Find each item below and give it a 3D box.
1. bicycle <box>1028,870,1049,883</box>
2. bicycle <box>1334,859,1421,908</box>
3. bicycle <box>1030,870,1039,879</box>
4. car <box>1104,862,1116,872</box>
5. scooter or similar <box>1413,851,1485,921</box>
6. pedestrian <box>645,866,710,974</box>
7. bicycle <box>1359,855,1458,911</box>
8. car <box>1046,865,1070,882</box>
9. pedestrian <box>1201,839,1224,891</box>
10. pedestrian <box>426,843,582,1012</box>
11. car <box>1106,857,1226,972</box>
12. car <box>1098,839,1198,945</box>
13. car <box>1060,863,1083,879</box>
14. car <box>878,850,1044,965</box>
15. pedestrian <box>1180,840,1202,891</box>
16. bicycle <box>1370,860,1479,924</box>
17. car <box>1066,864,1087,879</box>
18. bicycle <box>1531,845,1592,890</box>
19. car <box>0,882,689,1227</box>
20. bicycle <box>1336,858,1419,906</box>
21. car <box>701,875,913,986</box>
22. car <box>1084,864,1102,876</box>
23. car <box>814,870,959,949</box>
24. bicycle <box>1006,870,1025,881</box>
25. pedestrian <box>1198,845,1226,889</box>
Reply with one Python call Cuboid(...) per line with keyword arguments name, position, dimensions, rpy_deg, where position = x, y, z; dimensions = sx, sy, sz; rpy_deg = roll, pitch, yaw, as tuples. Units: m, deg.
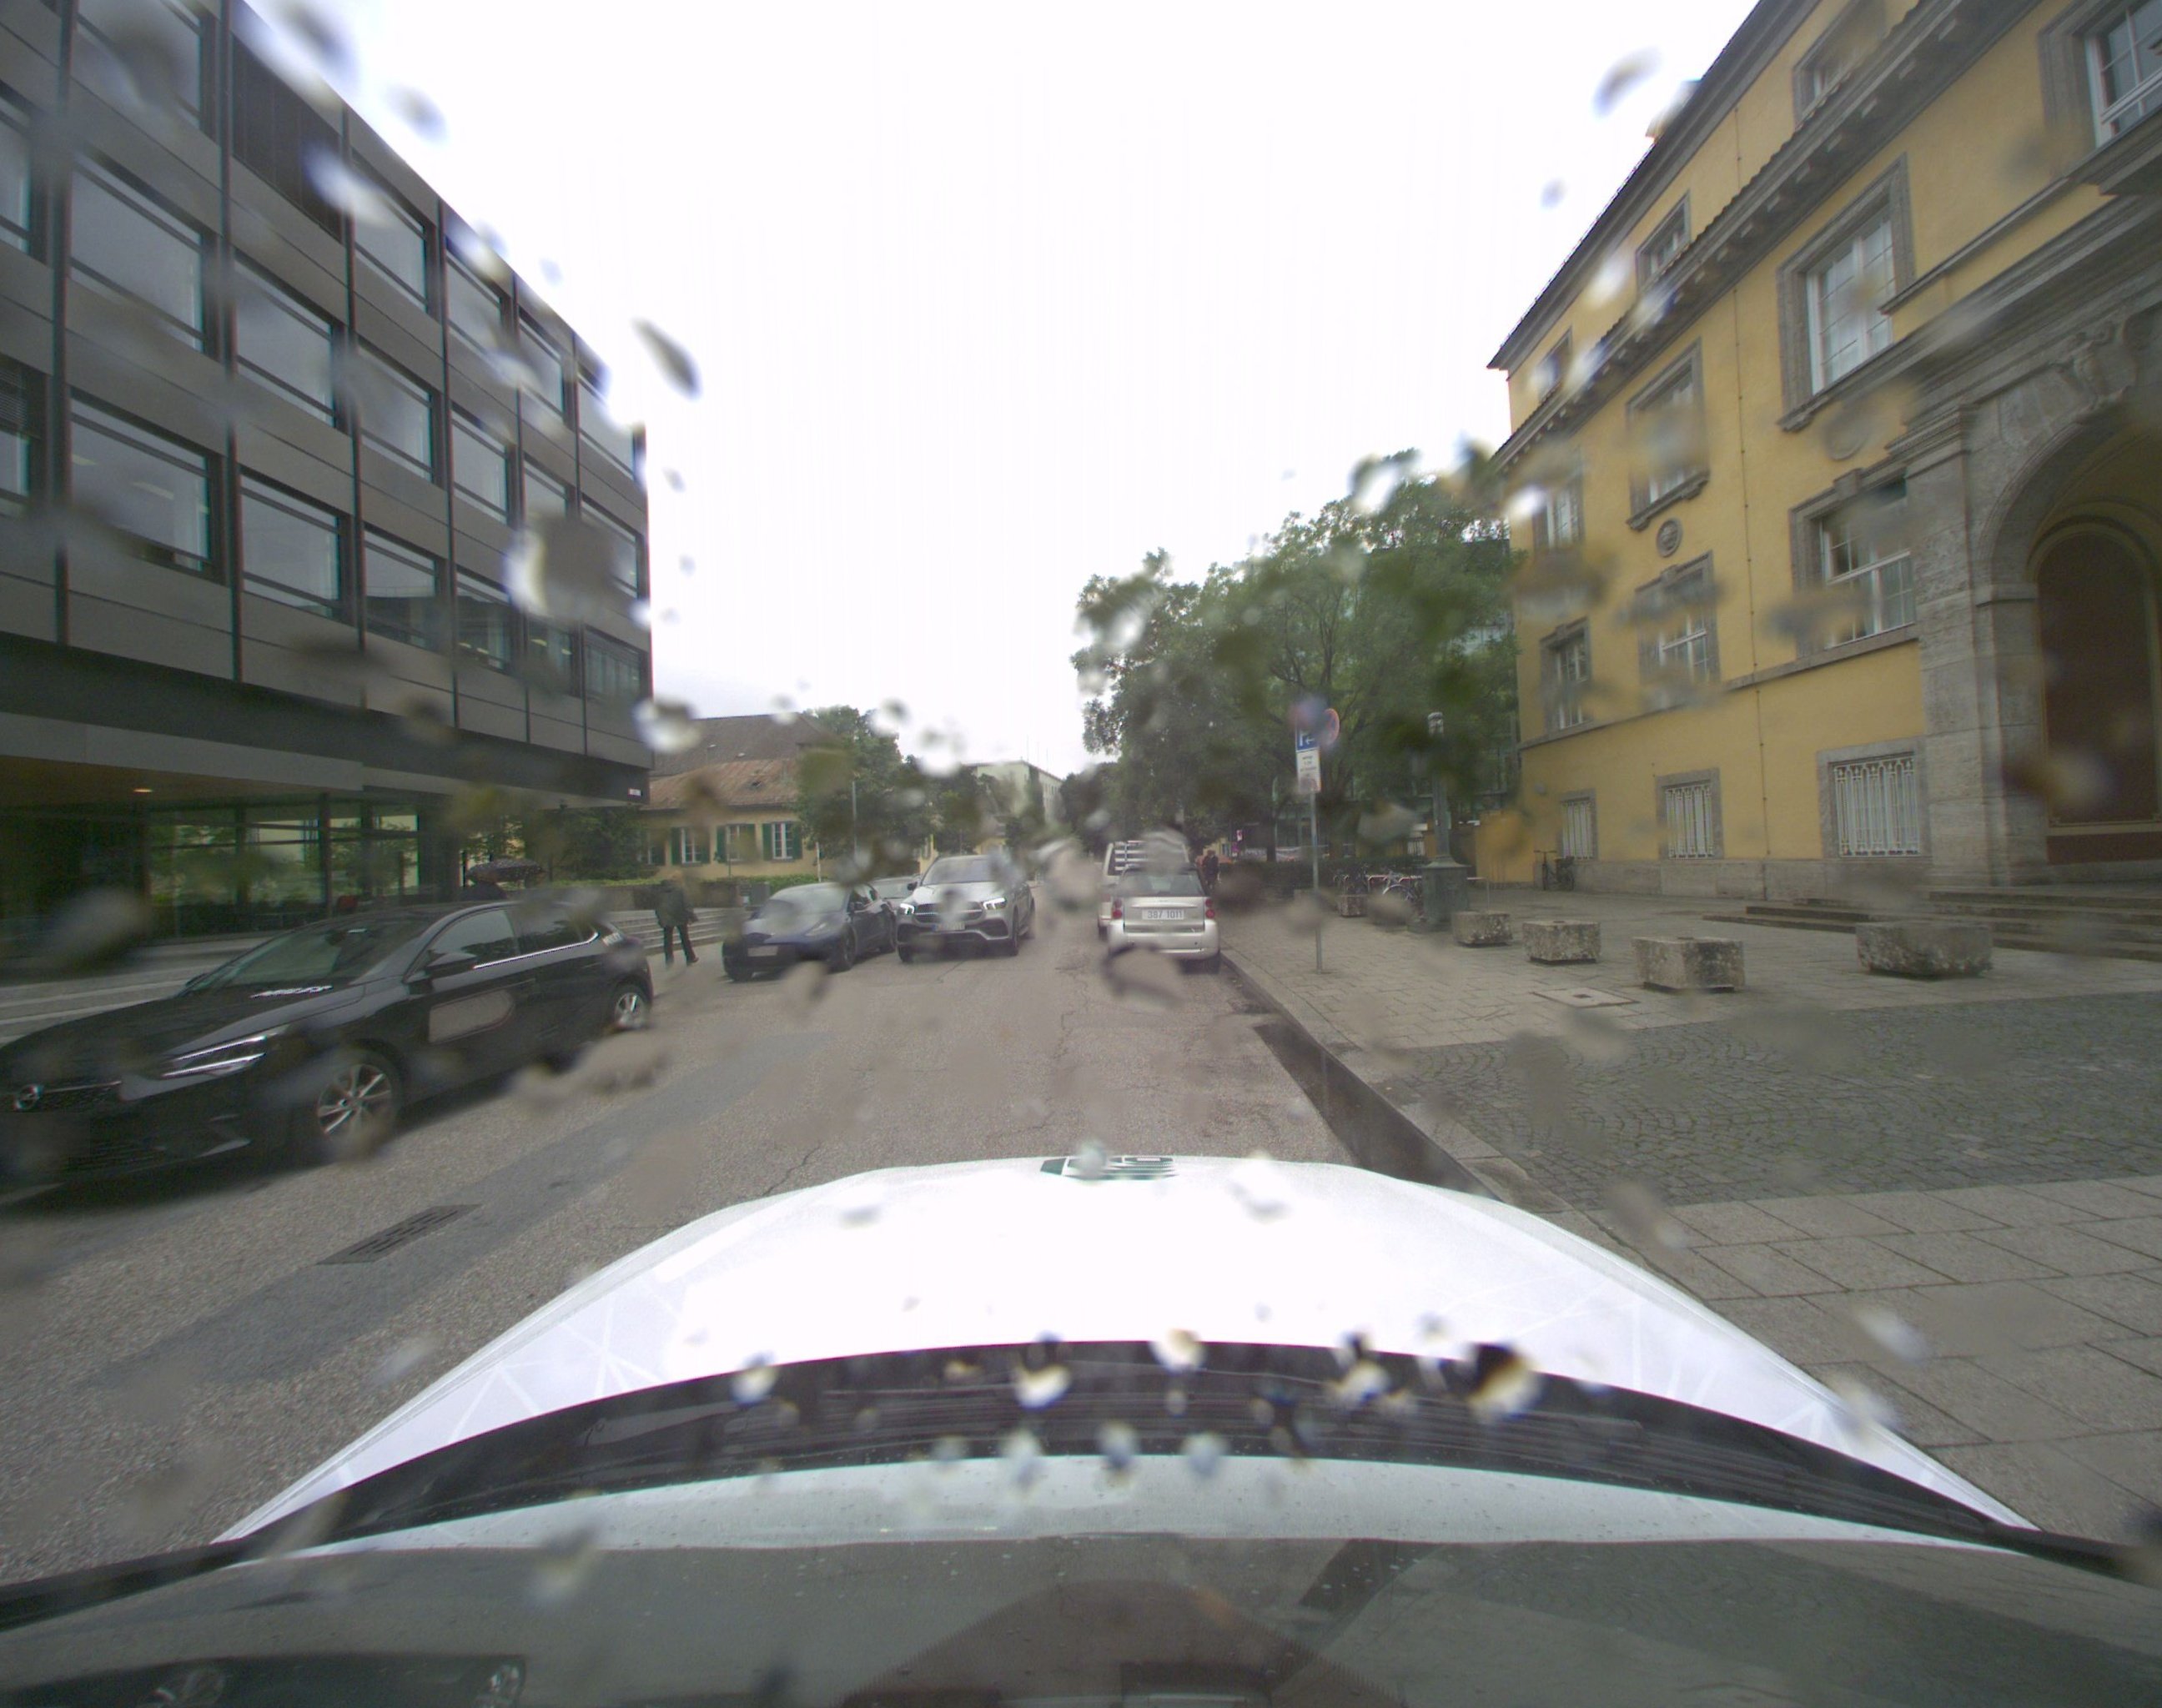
Cuboid(name="bicycle", position=(-3.694, 1.960, 71.017), dimensions=(0.615, 1.004, 2.154), rpy_deg=(0, 0, 35))
Cuboid(name="bicycle", position=(7.431, 0.735, 20.456), dimensions=(1.923, 1.113, 0.472), rpy_deg=(-4, -1, 4))
Cuboid(name="bicycle", position=(-4.939, 2.202, 87.304), dimensions=(0.618, 1.004, 1.622), rpy_deg=(-2, -2, 8))
Cuboid(name="car", position=(5.052, 2.275, 142.199), dimensions=(1.802, 1.683, 4.005), rpy_deg=(-3, -1, 4))
Cuboid(name="scooter or similar", position=(6.733, 0.586, 14.918), dimensions=(0.541, 1.222, 1.000), rpy_deg=(-3, -1, -43))
Cuboid(name="pedestrian", position=(-6.911, 1.094, 13.989), dimensions=(0.754, 1.749, 0.948), rpy_deg=(-2, -1, -14))
Cuboid(name="bicycle", position=(7.277, 0.637, 18.148), dimensions=(1.923, 1.113, 0.472), rpy_deg=(-4, -1, 4))
Cuboid(name="car", position=(-2.109, 1.794, 75.488), dimensions=(1.725, 1.581, 3.793), rpy_deg=(0, -1, 5))
Cuboid(name="pedestrian", position=(5.654, 0.477, 35.030), dimensions=(0.740, 2.135, 1.056), rpy_deg=(-3, -1, 1))
Cuboid(name="pedestrian", position=(-7.489, 0.911, 10.649), dimensions=(1.131, 2.055, 1.221), rpy_deg=(-1, -1, 1))
Cuboid(name="car", position=(1.213, 0.836, 12.499), dimensions=(1.599, 1.546, 2.935), rpy_deg=(0, -1, 2))
Cuboid(name="car", position=(1.284, 0.726, 17.604), dimensions=(1.838, 1.933, 5.273), rpy_deg=(0, -1, 1))
Cuboid(name="car", position=(-0.954, 1.792, 88.056), dimensions=(1.984, 1.648, 4.661), rpy_deg=(-2, -1, 5))
Cuboid(name="car", position=(-1.989, 0.858, 15.083), dimensions=(2.016, 1.689, 4.681), rpy_deg=(-3, -1, 3))
Cuboid(name="pedestrian", position=(4.763, 0.503, 35.414), dimensions=(0.740, 2.135, 1.056), rpy_deg=(-3, -1, 1))
Cuboid(name="bicycle", position=(6.825, 0.745, 16.206), dimensions=(1.926, 1.113, 0.471), rpy_deg=(-4, -1, -1))
Cuboid(name="car", position=(-0.480, 1.970, 92.969), dimensions=(1.985, 1.603, 4.003), rpy_deg=(-2, -2, 4))
Cuboid(name="bicycle", position=(13.144, 0.366, 22.341), dimensions=(0.540, 1.154, 1.902), rpy_deg=(-3, 0, 1))
Cuboid(name="car", position=(-4.942, 1.061, 6.015), dimensions=(1.732, 1.461, 4.240), rpy_deg=(-5, -1, 3))
Cuboid(name="bicycle", position=(7.728, 0.723, 21.239), dimensions=(1.923, 1.113, 0.472), rpy_deg=(-4, -1, 3))
Cuboid(name="car", position=(-4.503, 1.168, 14.307), dimensions=(1.916, 1.439, 4.917), rpy_deg=(-4, -1, 0))
Cuboid(name="car", position=(1.687, 2.113, 110.928), dimensions=(1.983, 1.486, 4.007), rpy_deg=(-3, -1, 7))
Cuboid(name="car", position=(-4.465, 1.222, 19.572), dimensions=(1.985, 1.491, 4.887), rpy_deg=(-4, -1, 3))
Cuboid(name="bicycle", position=(-6.027, 2.017, 75.372), dimensions=(1.620, 0.926, 0.646), rpy_deg=(-2, -2, -23))
Cuboid(name="pedestrian", position=(5.824, 0.586, 36.237), dimensions=(0.735, 1.907, 1.062), rpy_deg=(-4, -1, 37))
